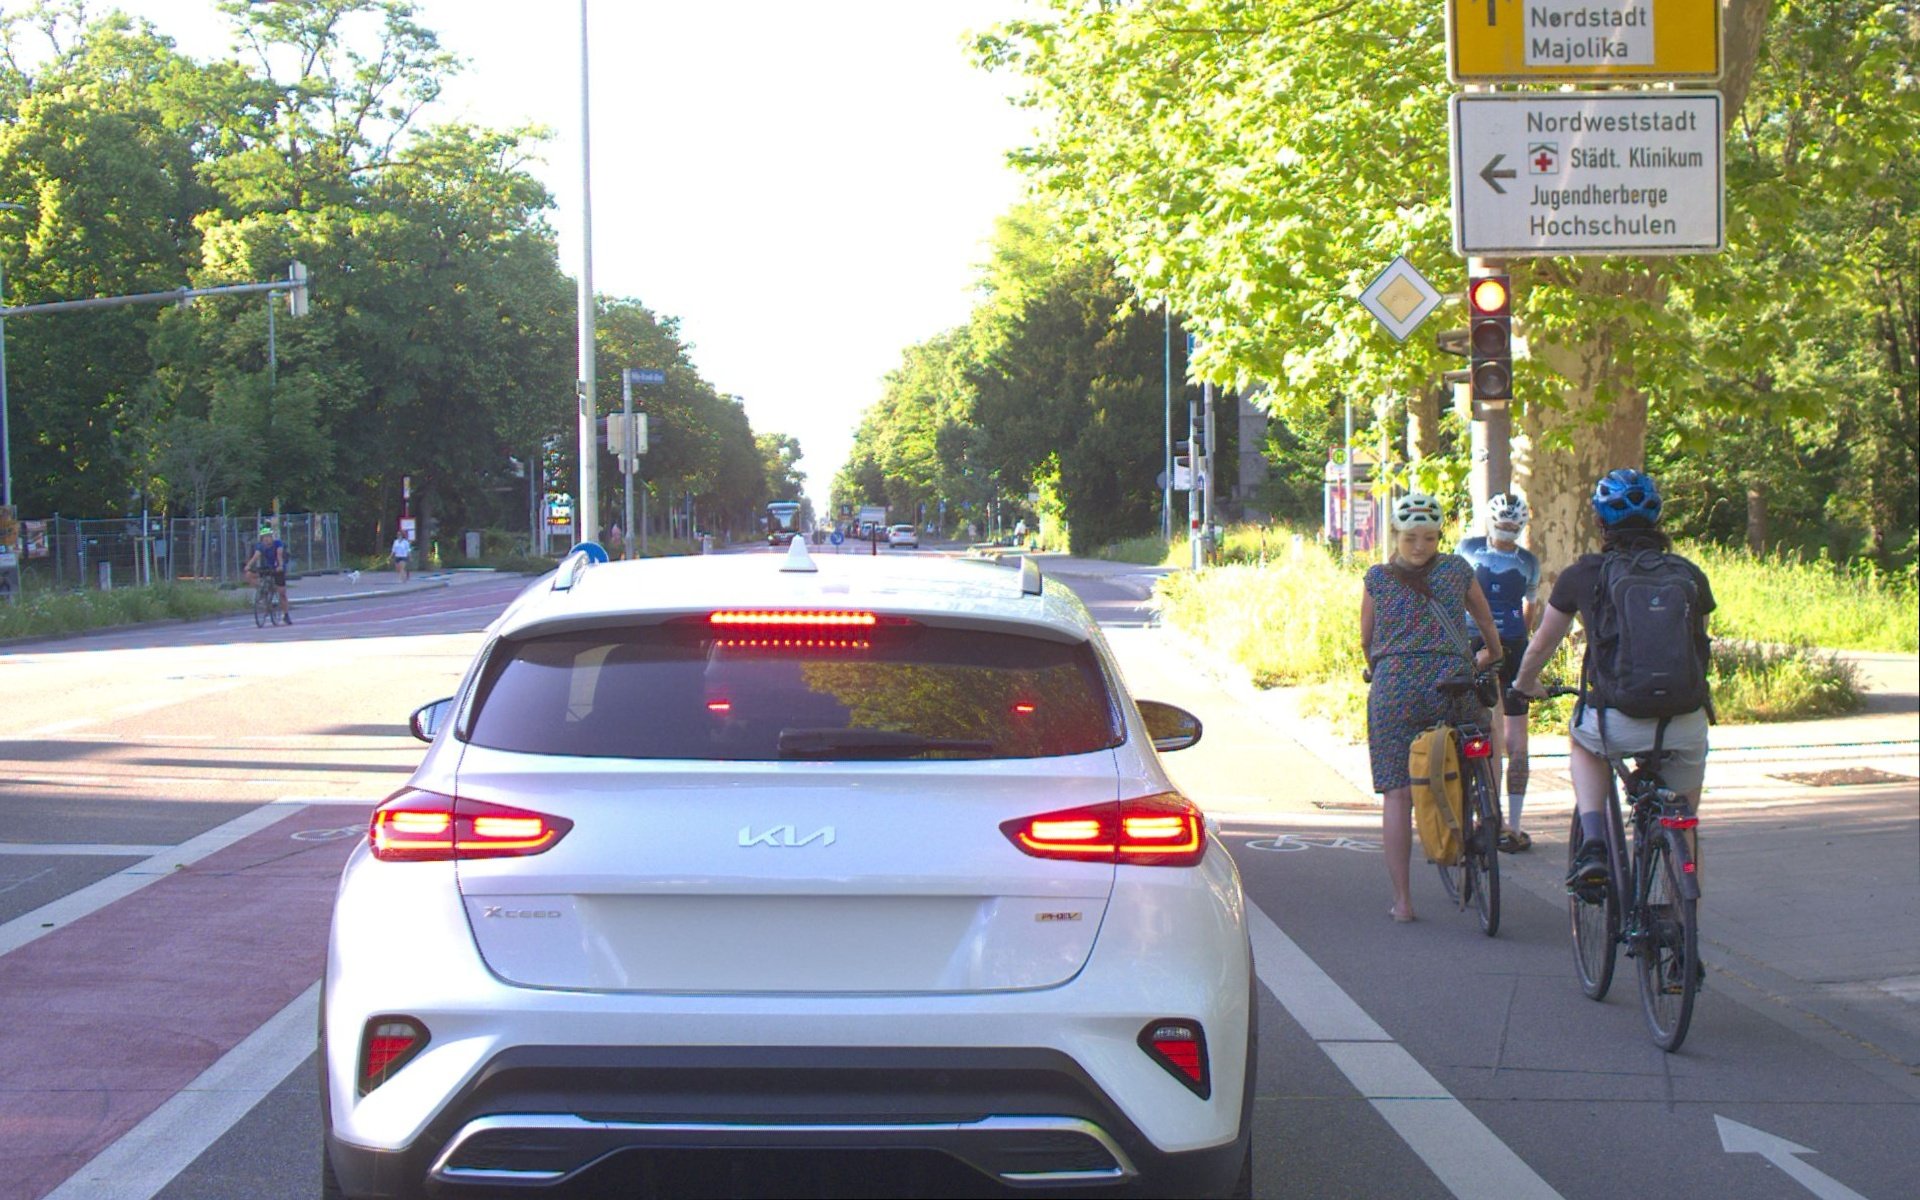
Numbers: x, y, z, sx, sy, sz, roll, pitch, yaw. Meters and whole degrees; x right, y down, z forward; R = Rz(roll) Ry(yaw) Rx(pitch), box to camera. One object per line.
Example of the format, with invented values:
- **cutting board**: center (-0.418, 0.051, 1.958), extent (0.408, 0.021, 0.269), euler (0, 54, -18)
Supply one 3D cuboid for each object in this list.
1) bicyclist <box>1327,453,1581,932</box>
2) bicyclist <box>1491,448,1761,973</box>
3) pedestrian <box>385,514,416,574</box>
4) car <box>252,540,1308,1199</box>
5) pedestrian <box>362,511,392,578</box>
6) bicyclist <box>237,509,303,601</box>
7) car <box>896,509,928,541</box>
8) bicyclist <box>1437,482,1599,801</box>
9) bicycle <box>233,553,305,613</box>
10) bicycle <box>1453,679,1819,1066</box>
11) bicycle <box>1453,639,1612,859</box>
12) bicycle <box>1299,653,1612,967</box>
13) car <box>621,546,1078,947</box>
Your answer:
- **bicyclist**: center (1.918, 0.336, 13.503), extent (0.753, 1.789, 1.165), euler (1, 1, -2)
- **bicyclist**: center (2.085, 0.331, 10.838), extent (0.665, 1.596, 0.721), euler (1, 1, -2)
- **pedestrian**: center (-16.636, -1.661, 102.283), extent (0.785, 1.779, 0.751), euler (0, 1, 0)
- **car**: center (-0.381, 0.622, 7.943), extent (1.821, 1.475, 3.937), euler (1, 1, -2)
- **pedestrian**: center (-17.469, -1.653, 103.008), extent (0.642, 2.007, 0.753), euler (0, 1, 14)
- **bicyclist**: center (-12.206, -0.803, 60.846), extent (0.875, 1.603, 1.188), euler (-1, 1, 1)
- **car**: center (-3.125, -4.905, 224.573), extent (1.993, 2.007, 4.000), euler (-2, 1, -1)
- **bicyclist**: center (2.682, 0.189, 16.582), extent (0.554, 1.473, 0.717), euler (-4, 1, -2)
- **bicycle**: center (-12.196, -0.308, 60.743), extent (0.663, 0.985, 2.504), euler (-1, 1, 2)
- **bicycle**: center (2.082, 0.804, 10.871), extent (0.668, 1.006, 2.081), euler (1, 1, -2)
- **bicycle**: center (2.749, 0.695, 16.606), extent (0.401, 0.953, 1.551), euler (-4, 1, -2)
- **bicycle**: center (1.905, 0.774, 13.616), extent (0.758, 1.009, 2.570), euler (1, 1, -2)
- **car**: center (-0.493, 0.535, 15.015), extent (1.728, 1.478, 3.517), euler (-1, 1, -2)
